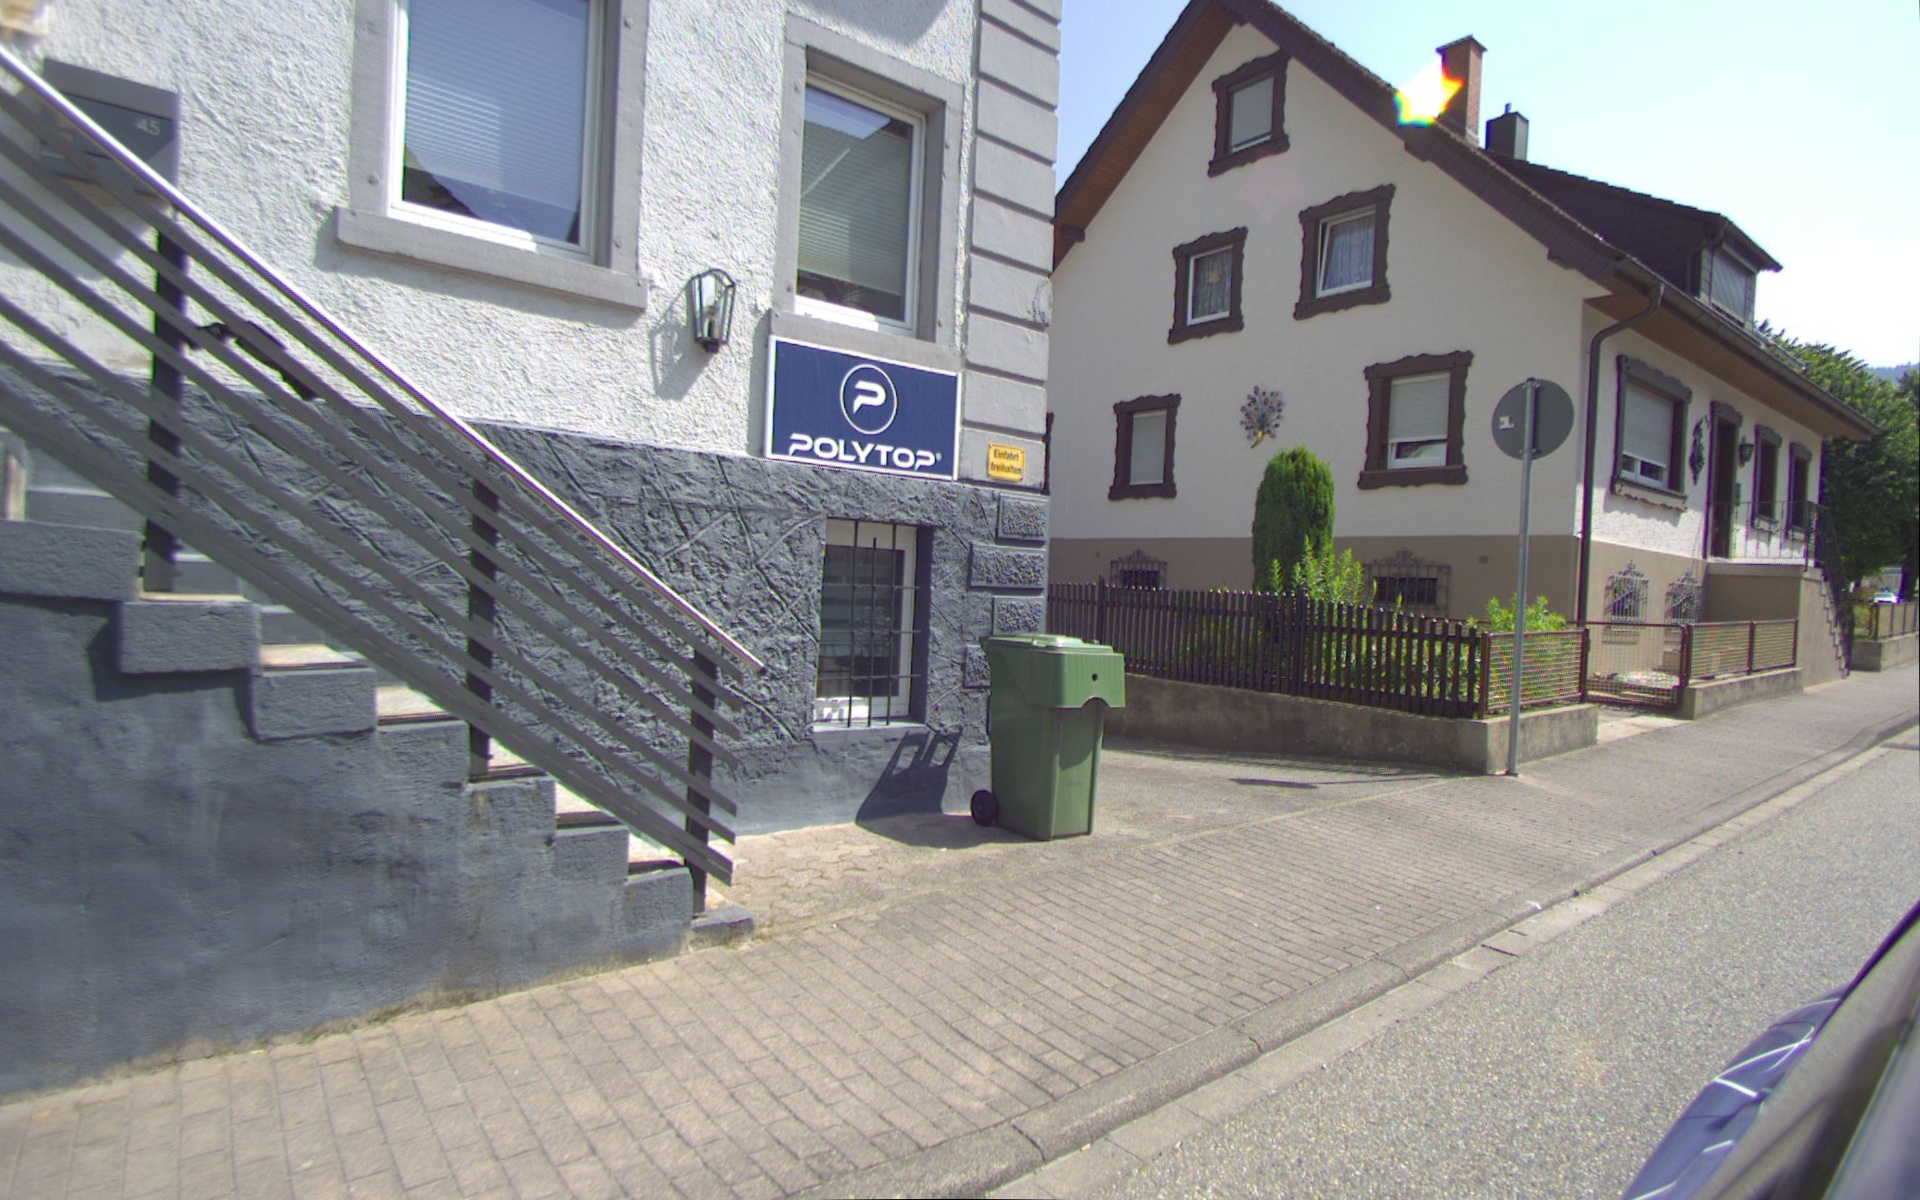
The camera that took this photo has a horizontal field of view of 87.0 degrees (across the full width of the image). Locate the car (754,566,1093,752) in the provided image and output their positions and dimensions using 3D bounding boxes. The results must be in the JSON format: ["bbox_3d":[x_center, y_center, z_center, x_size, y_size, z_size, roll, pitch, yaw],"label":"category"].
[{"bbox_3d":[-0.580,0.529,10.925,1.766,1.610,3.971,0,-1,-36],"label":"car"}]

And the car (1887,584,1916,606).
[{"bbox_3d":[97.372,-0.504,104.674,1.995,2.038,3.936,6,3,44],"label":"car"}]

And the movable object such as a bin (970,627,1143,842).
[{"bbox_3d":[0.526,0.694,5.600,0.606,1.033,0.706,0,2,-38],"label":"movable object such as a bin"}]
